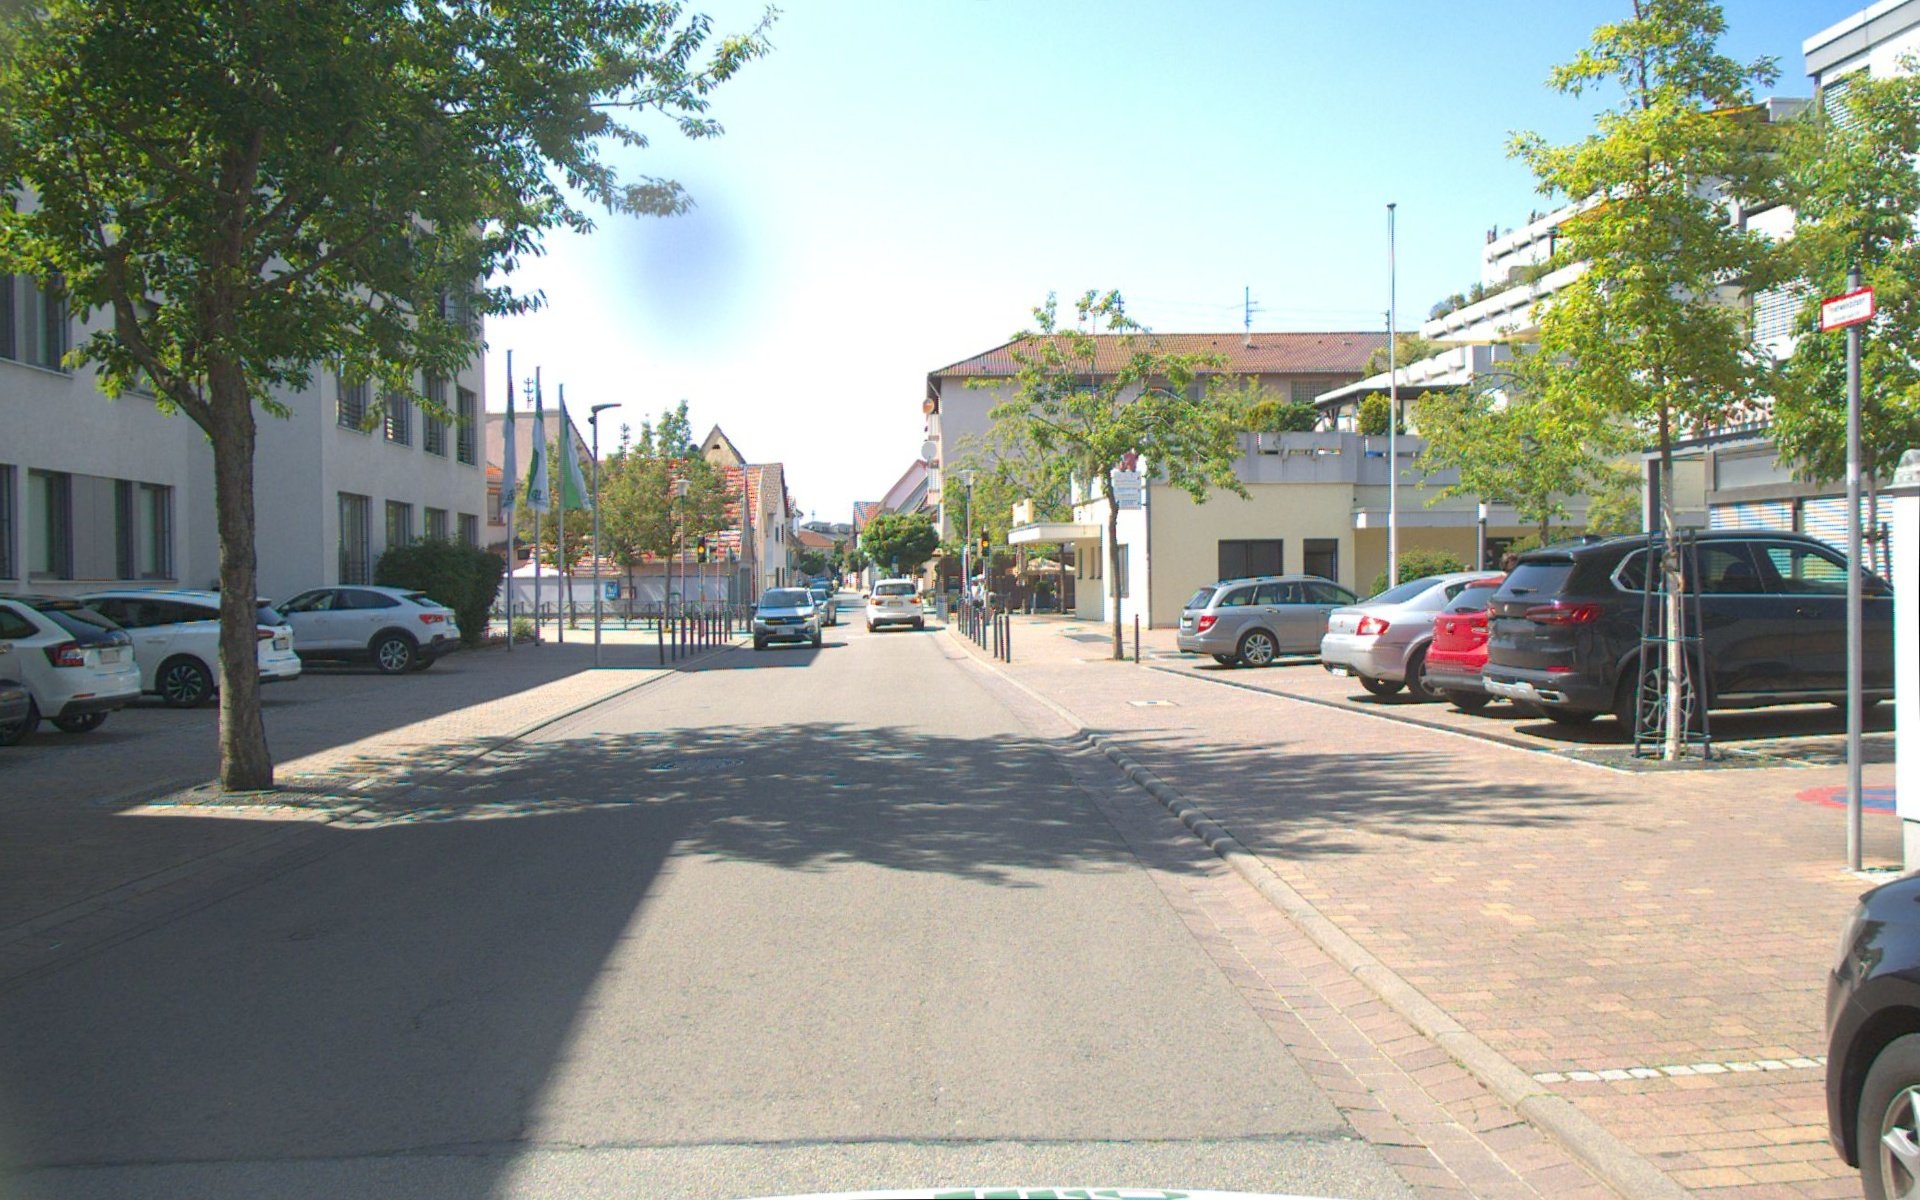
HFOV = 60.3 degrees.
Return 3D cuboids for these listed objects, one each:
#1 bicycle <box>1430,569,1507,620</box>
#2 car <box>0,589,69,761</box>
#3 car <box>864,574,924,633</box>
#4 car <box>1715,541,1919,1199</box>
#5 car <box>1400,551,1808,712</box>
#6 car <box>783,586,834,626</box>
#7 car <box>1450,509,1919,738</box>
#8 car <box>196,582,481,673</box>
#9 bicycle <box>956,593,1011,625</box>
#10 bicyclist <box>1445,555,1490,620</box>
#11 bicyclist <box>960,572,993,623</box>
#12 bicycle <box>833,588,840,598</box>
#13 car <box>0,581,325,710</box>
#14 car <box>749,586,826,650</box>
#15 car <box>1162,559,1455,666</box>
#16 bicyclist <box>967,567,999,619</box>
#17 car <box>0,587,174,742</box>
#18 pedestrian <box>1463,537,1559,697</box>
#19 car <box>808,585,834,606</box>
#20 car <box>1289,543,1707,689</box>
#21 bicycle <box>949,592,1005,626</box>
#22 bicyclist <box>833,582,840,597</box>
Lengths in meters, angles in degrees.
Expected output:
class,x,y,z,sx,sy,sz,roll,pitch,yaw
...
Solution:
class,x,y,z,sx,sy,sz,roll,pitch,yaw
bicycle,12.341,-0.143,40.146,1.870,1.128,0.669,-3,1,-30
car,-10.224,0.631,14.359,3.911,1.456,1.969,0,1,-7
car,-2.136,0.086,53.526,1.797,1.680,3.999,-3,2,-2
car,2.858,0.599,2.184,1.670,1.507,3.919,-3,0,-4
car,6.792,0.302,17.615,3.661,1.478,1.741,-2,1,-9
car,-5.970,0.216,65.579,1.843,1.489,4.433,-1,0,-3
car,7.154,0.144,15.269,4.539,1.802,2.146,-3,1,-4
car,-11.270,0.488,30.276,4.418,1.581,2.146,0,0,-5
bicycle,0.783,0.304,55.215,1.881,0.974,0.665,-4,1,-44
bicyclist,12.304,-0.303,40.122,0.751,1.553,0.664,-3,1,-29
bicyclist,0.526,-0.088,53.943,0.755,1.609,0.660,-4,1,-43
bicycle,-12.569,-0.688,167.923,0.651,1.024,1.896,-1,0,-3
car,-10.974,0.564,21.851,4.414,1.581,1.934,0,1,-4
car,-4.567,0.433,44.162,1.814,1.601,3.998,-1,0,-3
car,5.920,0.198,28.326,4.492,1.539,1.912,-3,0,-9
bicyclist,0.765,-0.234,55.225,0.755,1.693,0.660,-3,1,-43
car,-10.399,0.616,16.854,3.909,1.476,1.806,0,1,-5
pedestrian,6.240,0.185,18.748,0.735,1.747,0.697,-2,0,-10
car,-10.497,-0.371,124.702,1.679,1.543,3.785,-1,0,-1
car,6.466,0.165,20.086,4.452,1.465,1.836,-3,1,-9
bicycle,0.565,0.286,53.983,1.881,0.974,0.665,-4,2,-43
bicyclist,-12.562,-1.045,167.982,0.660,1.508,0.770,-1,0,-3
